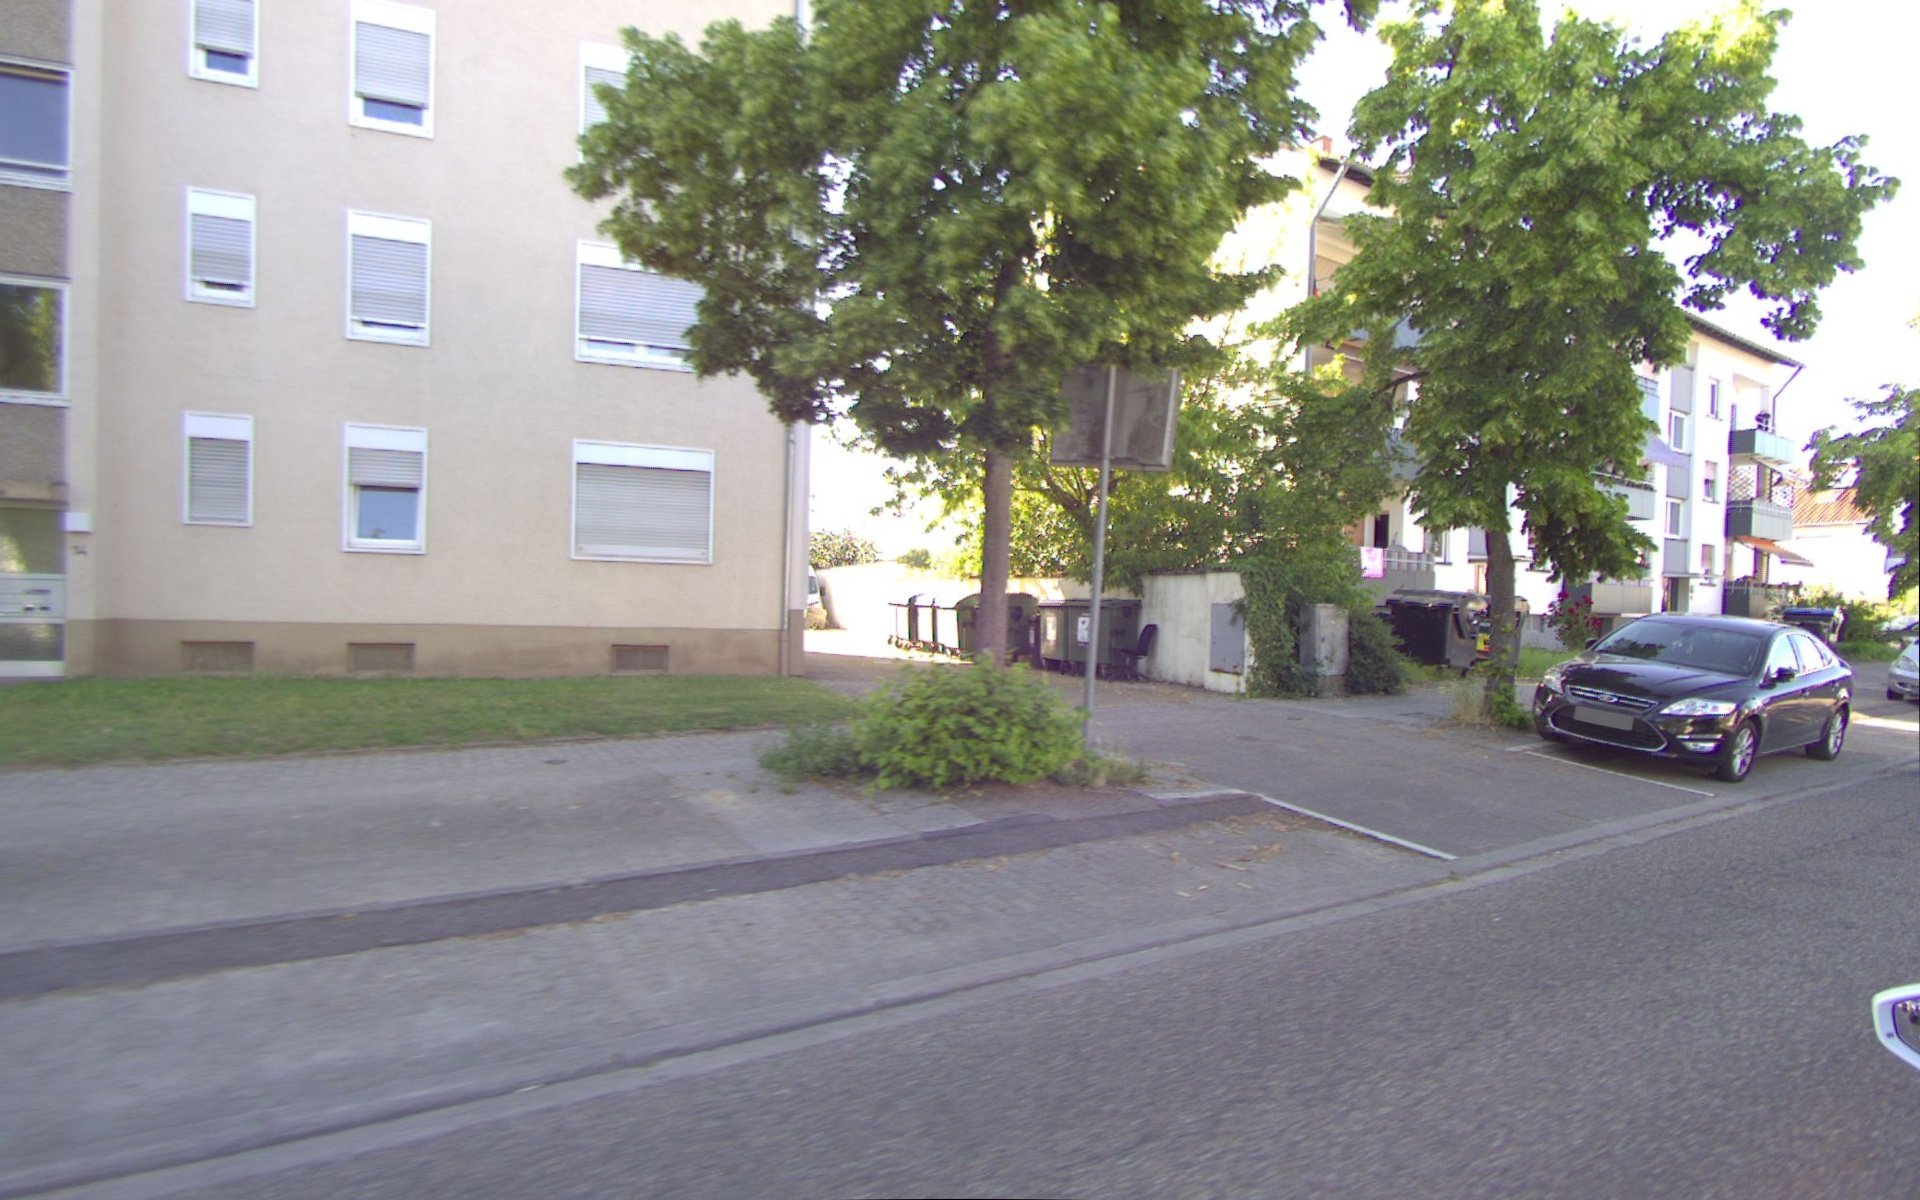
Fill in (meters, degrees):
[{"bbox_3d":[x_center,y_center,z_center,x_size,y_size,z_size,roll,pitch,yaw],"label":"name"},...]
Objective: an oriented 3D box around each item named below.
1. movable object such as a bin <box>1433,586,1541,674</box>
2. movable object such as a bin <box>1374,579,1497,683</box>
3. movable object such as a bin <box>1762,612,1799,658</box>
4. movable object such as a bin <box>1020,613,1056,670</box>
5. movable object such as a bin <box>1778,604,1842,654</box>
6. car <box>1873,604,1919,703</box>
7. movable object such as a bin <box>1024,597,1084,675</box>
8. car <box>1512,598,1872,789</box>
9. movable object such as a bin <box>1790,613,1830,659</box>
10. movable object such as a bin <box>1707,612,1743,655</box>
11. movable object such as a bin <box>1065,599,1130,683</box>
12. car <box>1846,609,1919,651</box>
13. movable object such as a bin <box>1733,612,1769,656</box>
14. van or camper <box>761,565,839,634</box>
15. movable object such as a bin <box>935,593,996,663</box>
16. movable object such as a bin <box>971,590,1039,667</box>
[{"bbox_3d":[9.850,0.533,18.788,1.312,1.564,1.283,1,1,-32],"label":"movable object such as a bin"},{"bbox_3d":[8.077,0.497,17.099,1.253,1.685,1.405,1,1,-32],"label":"movable object such as a bin"},{"bbox_3d":[24.015,1.016,29.390,0.664,1.296,0.635,1,1,-31],"label":"movable object such as a bin"},{"bbox_3d":[1.488,0.782,19.198,0.478,1.028,0.505,-3,2,-26],"label":"movable object such as a bin"},{"bbox_3d":[26.571,0.898,31.406,1.103,1.502,1.225,1,1,-31],"label":"movable object such as a bin"},{"bbox_3d":[18.137,1.023,17.849,3.865,1.614,1.712,2,6,-32],"label":"car"},{"bbox_3d":[1.694,0.629,18.180,0.560,1.334,1.117,-3,2,-26],"label":"movable object such as a bin"},{"bbox_3d":[8.018,0.868,10.863,4.499,1.514,1.710,1,6,-36],"label":"car"},{"bbox_3d":[24.367,1.029,28.795,0.664,1.296,0.683,1,1,-31],"label":"movable object such as a bin"},{"bbox_3d":[23.272,1.012,30.562,0.664,1.296,0.635,1,1,-31],"label":"movable object such as a bin"},{"bbox_3d":[2.328,0.676,17.040,0.560,1.334,1.085,-3,2,-26],"label":"movable object such as a bin"},{"bbox_3d":[37.754,1.220,39.410,4.299,1.534,1.615,2,1,6],"label":"car"},{"bbox_3d":[23.630,1.014,29.995,0.664,1.296,0.635,1,1,-31],"label":"movable object such as a bin"},{"bbox_3d":[-6.352,-0.048,39.373,2.089,2.496,4.782,1,1,-20],"label":"van or camper"},{"bbox_3d":[0.115,0.586,22.061,0.926,1.452,1.117,-3,2,-26],"label":"movable object such as a bin"},{"bbox_3d":[0.903,0.554,20.329,0.942,1.452,1.117,-3,2,-26],"label":"movable object such as a bin"}]
